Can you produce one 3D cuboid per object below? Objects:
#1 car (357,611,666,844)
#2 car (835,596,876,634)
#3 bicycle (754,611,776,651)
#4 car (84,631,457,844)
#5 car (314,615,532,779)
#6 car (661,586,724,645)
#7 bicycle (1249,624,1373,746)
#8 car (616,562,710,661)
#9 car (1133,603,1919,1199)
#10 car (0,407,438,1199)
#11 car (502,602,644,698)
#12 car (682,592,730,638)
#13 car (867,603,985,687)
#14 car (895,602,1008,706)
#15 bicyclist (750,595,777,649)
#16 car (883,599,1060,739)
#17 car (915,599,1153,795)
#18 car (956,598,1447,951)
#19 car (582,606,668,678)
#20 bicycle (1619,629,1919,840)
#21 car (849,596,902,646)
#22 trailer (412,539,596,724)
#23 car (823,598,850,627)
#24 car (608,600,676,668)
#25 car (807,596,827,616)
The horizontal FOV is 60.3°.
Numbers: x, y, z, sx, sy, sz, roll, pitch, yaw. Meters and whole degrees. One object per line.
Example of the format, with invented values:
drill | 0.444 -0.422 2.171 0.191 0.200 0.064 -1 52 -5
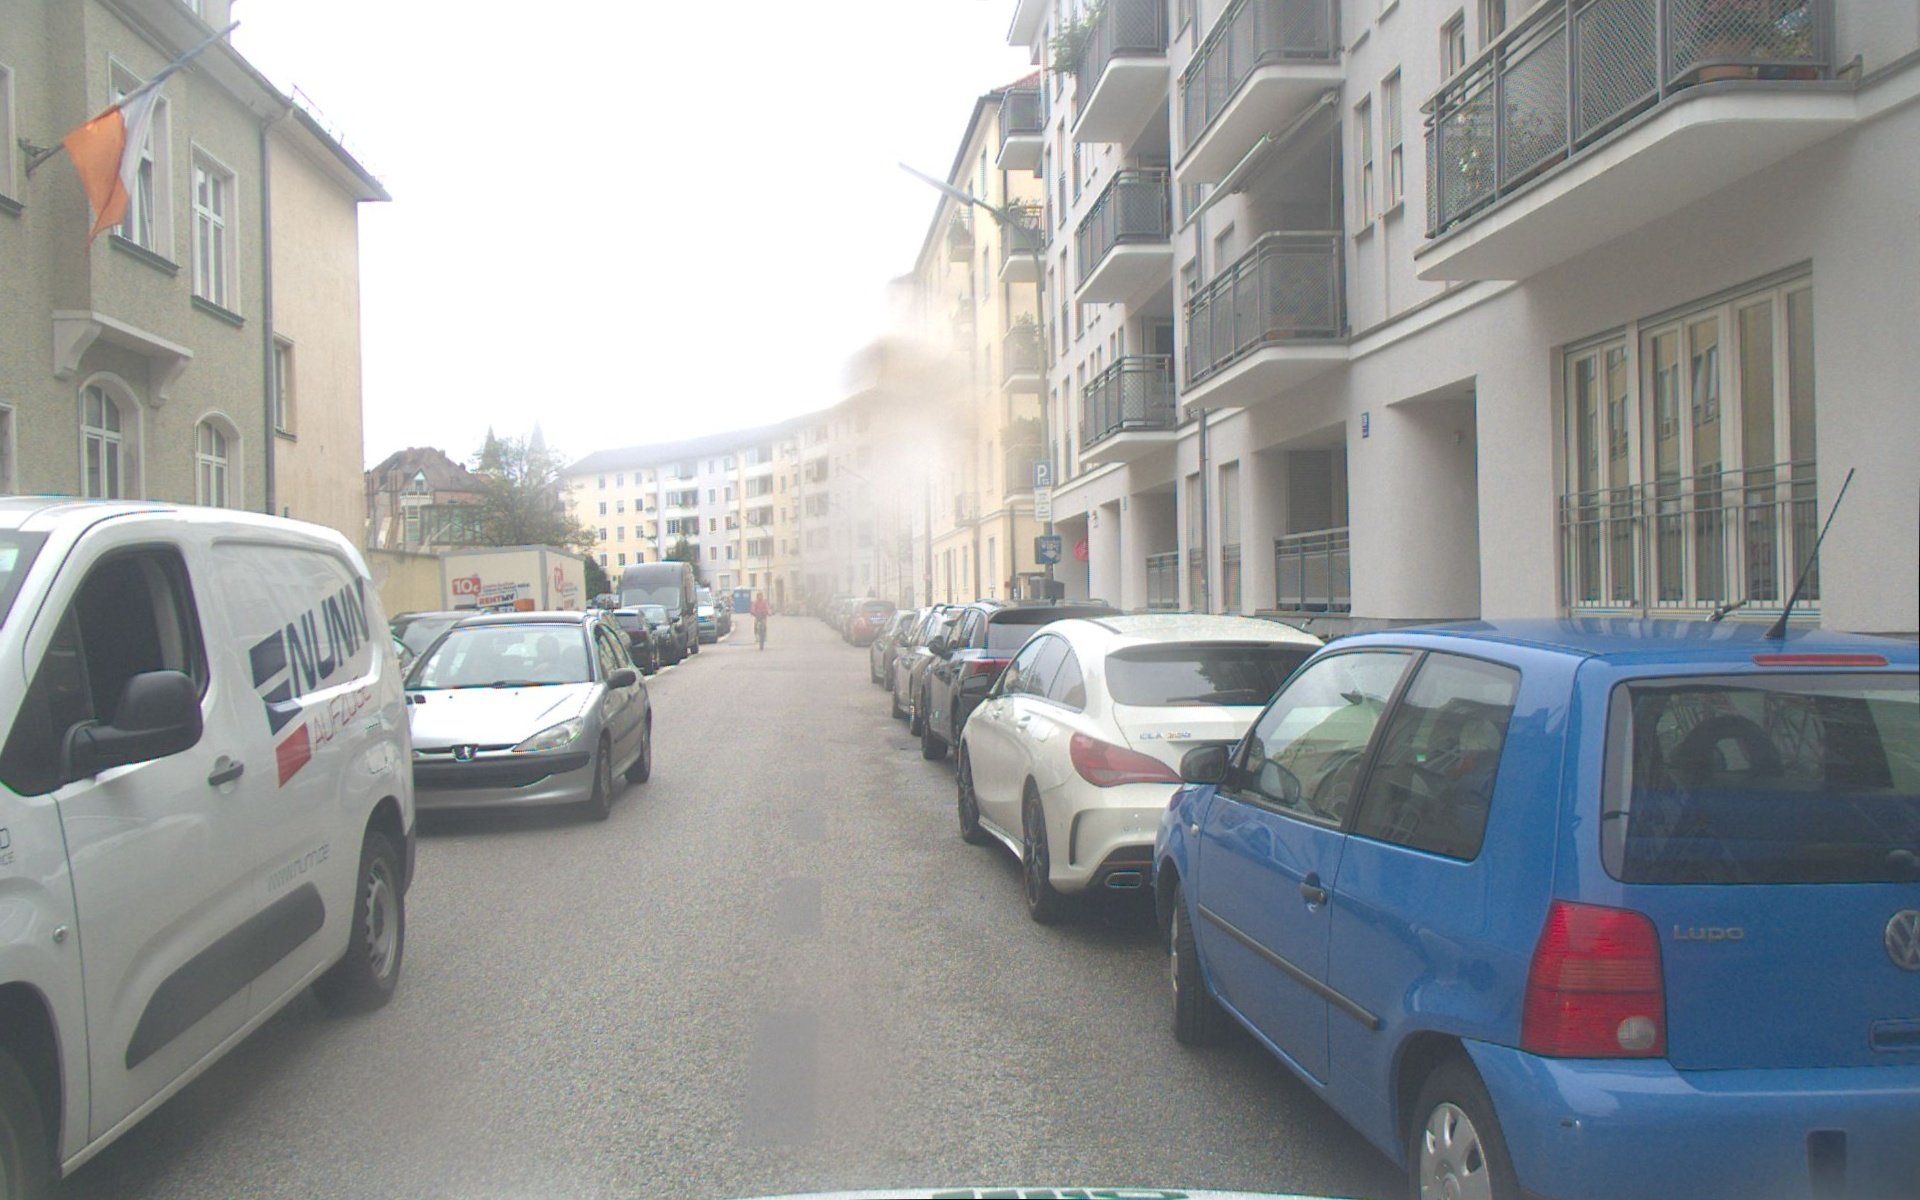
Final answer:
car | -3.190 0.825 12.403 1.550 1.436 3.609 -2 0 -4
car | -4.466 0.613 70.210 1.568 1.517 3.794 -1 1 -6
bicycle | -5.955 0.933 50.484 0.494 1.148 1.772 -2 0 -3
car | -5.794 1.060 14.512 1.825 1.437 4.327 -3 0 -7
car | -6.352 1.072 19.977 1.655 1.631 3.916 -3 0 -6
car | -9.726 0.519 60.338 1.846 1.965 4.596 -3 1 -5
bicycle | 3.739 0.873 17.783 0.615 1.180 2.124 -2 0 -7
car | -8.527 0.283 47.957 2.047 2.682 5.372 -1 1 -4
car | 1.672 0.750 4.658 1.588 1.437 3.548 1 -1 -7
car | -2.797 0.563 4.422 1.737 1.835 4.566 -1 0 -6
car | -7.170 0.877 31.045 1.731 1.565 4.538 -3 0 -3
car | -10.366 0.599 67.651 1.669 1.720 4.022 -3 1 -6
car | -0.706 0.799 30.795 1.730 1.432 4.071 -1 0 -8
car | -0.194 0.815 26.708 1.490 1.557 3.522 0 0 -6
bicyclist | -5.995 0.659 50.476 0.680 1.589 0.966 -2 0 -3
car | 0.028 0.791 21.108 1.701 1.557 4.615 1 0 -7
car | 0.553 0.788 15.319 1.573 1.557 3.978 1 0 -7
car | 1.028 0.742 9.056 1.626 1.465 4.200 1 0 -7
car | -7.598 0.913 37.762 1.669 1.471 3.818 -1 1 -8
bicycle | 4.503 0.707 9.307 0.664 1.046 1.832 -1 -2 -6
car | -2.812 0.671 54.473 1.564 1.535 3.796 -1 0 -5
trailer | -6.860 0.425 25.344 1.675 2.504 4.384 -3 0 -3
car | -7.457 0.719 99.479 1.446 1.669 3.995 0 0 -7
car | -8.064 0.834 42.205 1.557 1.565 3.536 -2 1 -9
car | -9.571 0.376 110.578 1.248 1.321 2.793 -1 0 -7
